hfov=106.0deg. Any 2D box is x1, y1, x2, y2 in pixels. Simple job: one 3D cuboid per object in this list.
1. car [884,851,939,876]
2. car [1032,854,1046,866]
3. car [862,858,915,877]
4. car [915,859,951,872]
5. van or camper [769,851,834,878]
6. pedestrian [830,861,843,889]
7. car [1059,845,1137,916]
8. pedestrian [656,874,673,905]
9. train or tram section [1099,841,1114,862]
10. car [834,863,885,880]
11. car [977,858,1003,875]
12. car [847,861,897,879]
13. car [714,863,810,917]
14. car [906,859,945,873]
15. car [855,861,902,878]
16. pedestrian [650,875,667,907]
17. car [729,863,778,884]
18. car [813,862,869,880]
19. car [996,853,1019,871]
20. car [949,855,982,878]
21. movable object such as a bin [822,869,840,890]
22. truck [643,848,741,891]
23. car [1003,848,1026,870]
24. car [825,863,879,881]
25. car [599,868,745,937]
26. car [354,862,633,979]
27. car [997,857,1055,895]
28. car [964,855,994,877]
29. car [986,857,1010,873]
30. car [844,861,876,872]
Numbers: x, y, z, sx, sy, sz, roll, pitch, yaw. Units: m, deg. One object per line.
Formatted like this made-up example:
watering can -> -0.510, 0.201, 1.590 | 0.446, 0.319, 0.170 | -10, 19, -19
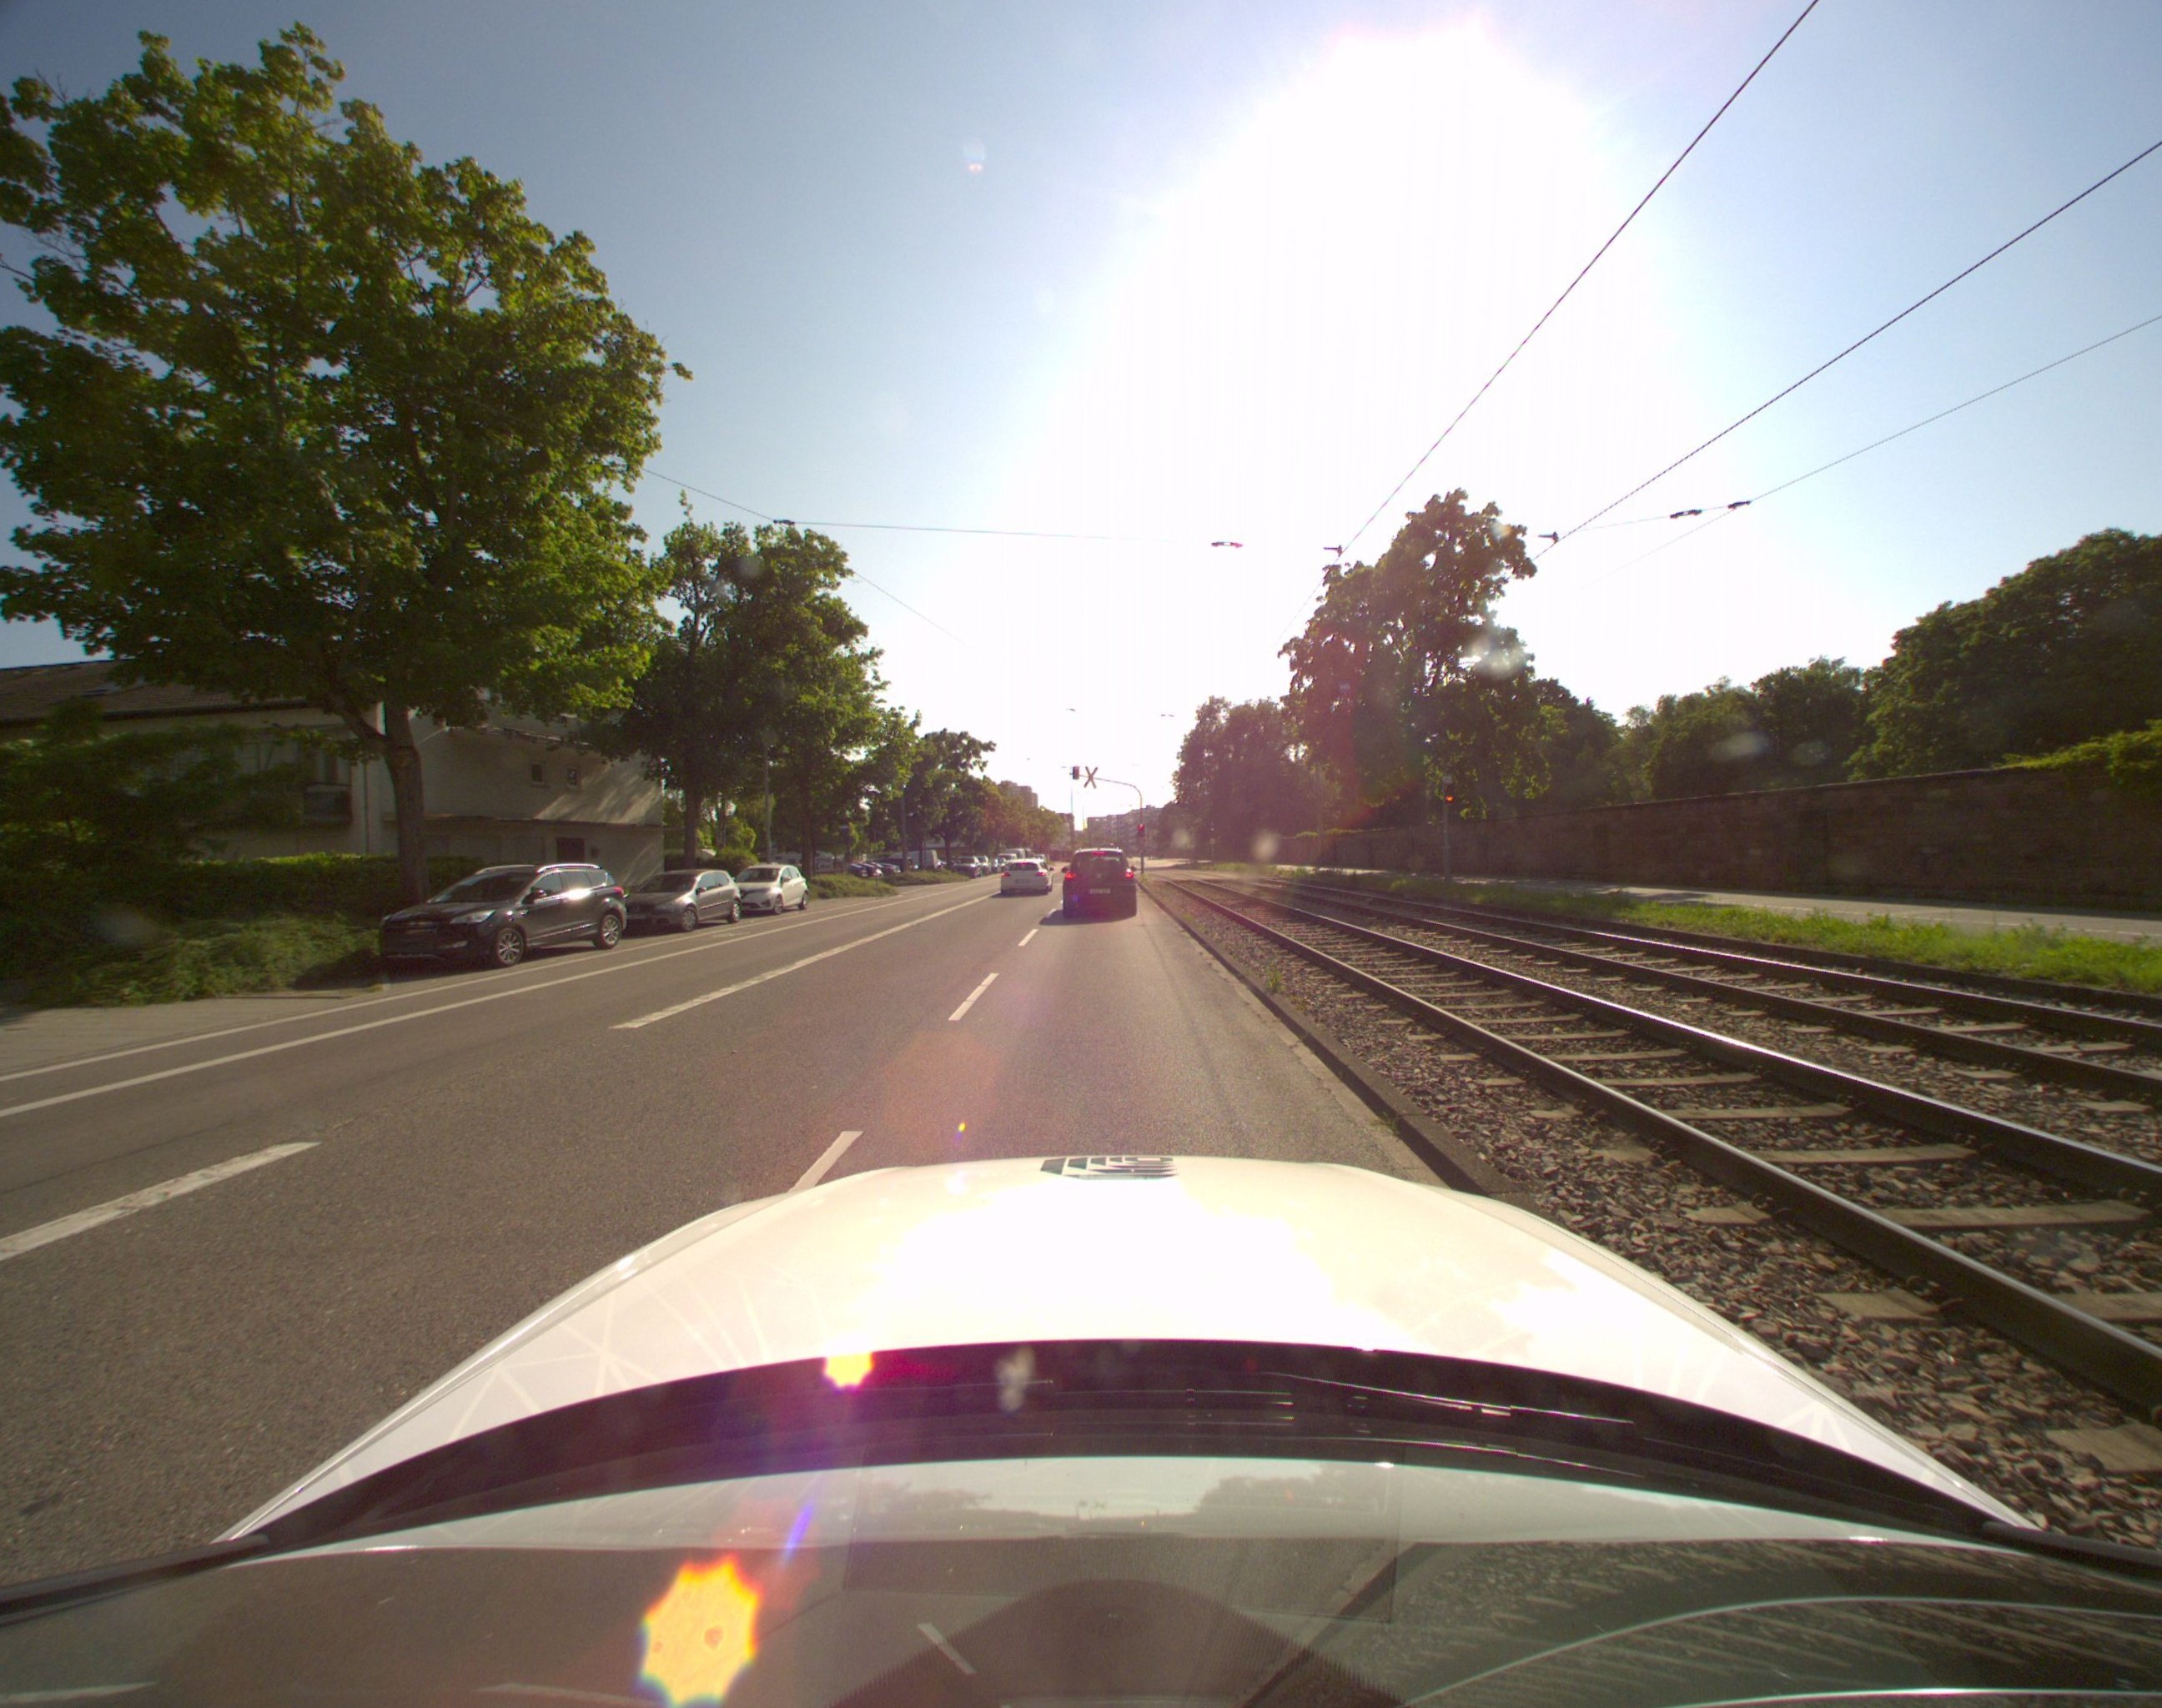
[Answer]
car -> -18.036, 0.965, 86.782 | 5.355, 2.423, 2.088 | -2, 0, 1
car -> -6.329, 0.955, 123.252 | 1.724, 1.694, 4.004 | -2, 0, 3
car -> -18.597, 1.291, 78.797 | 4.603, 1.651, 2.049 | -2, 0, -1
car -> -17.745, 1.403, 97.713 | 3.976, 1.397, 1.736 | -2, 0, -2
van or camper -> -31.478, 1.157, 91.833 | 6.438, 2.868, 2.309 | -2, 0, 2
pedestrian -> -14.247, 1.219, 47.511 | 0.522, 1.628, 0.610 | -2, 0, 2
car -> 0.481, 0.632, 21.108 | 1.804, 1.645, 4.002 | -1, 0, 2
pedestrian -> -16.873, 1.431, 33.008 | 0.442, 1.217, 0.392 | -2, 0, 9
train or tram section -> 4.443, -0.438, 142.075 | 2.317, 3.570, 8.904 | -2, 0, 2
car -> -19.335, 1.522, 71.238 | 3.976, 1.307, 1.736 | -2, 0, -2
car -> -8.367, 1.132, 75.525 | 1.724, 1.389, 3.739 | -2, 0, 3
car -> -18.795, 1.418, 73.441 | 3.976, 1.397, 1.736 | -2, 0, -2
car -> -10.122, 1.094, 26.141 | 1.596, 1.550, 3.892 | 0, 0, -1
car -> -17.614, 1.396, 92.234 | 3.976, 1.397, 1.736 | -2, 0, -2
car -> -18.963, 1.424, 76.415 | 3.976, 1.397, 1.736 | -2, 0, -2
pedestrian -> -15.546, 1.361, 29.964 | 0.344, 1.162, 0.447 | -2, 0, 10
car -> -30.856, 1.840, 76.796 | 3.981, 1.728, 1.624 | -2, 0, -6
car -> -19.242, 1.357, 65.354 | 3.976, 1.307, 1.736 | -2, 0, -2
car -> -7.787, 0.831, 86.727 | 1.724, 1.860, 4.493 | -2, 0, 3
car -> -8.954, 0.920, 63.634 | 1.724, 1.658, 4.004 | -2, 0, 3
movable object such as a bin -> -14.283, 1.466, 46.573 | 0.540, 1.146, 1.261 | -2, 0, 2
truck -> -31.786, 1.255, 66.706 | 6.940, 3.242, 1.987 | -2, 0, -1
car -> -7.624, 0.561, 93.404 | 1.855, 2.347, 4.989 | -2, 0, 3
car -> -19.088, 1.512, 67.944 | 3.976, 1.307, 1.736 | -2, 0, -2
car -> -10.172, 1.143, 20.619 | 1.671, 1.468, 3.967 | -2, 0, 0
car -> -10.272, 1.053, 14.762 | 1.667, 1.694, 4.425 | -2, 0, 2
car -> -2.106, 0.833, 32.375 | 1.857, 1.348, 4.002 | -1, 0, 2
car -> -8.630, 0.997, 69.218 | 1.724, 1.694, 4.004 | -2, 0, 3
car -> -8.282, 1.115, 81.415 | 1.724, 1.450, 3.739 | -2, 0, 3
car -> -30.401, 1.705, 112.075 | 3.976, 1.397, 1.736 | -2, 0, -2
